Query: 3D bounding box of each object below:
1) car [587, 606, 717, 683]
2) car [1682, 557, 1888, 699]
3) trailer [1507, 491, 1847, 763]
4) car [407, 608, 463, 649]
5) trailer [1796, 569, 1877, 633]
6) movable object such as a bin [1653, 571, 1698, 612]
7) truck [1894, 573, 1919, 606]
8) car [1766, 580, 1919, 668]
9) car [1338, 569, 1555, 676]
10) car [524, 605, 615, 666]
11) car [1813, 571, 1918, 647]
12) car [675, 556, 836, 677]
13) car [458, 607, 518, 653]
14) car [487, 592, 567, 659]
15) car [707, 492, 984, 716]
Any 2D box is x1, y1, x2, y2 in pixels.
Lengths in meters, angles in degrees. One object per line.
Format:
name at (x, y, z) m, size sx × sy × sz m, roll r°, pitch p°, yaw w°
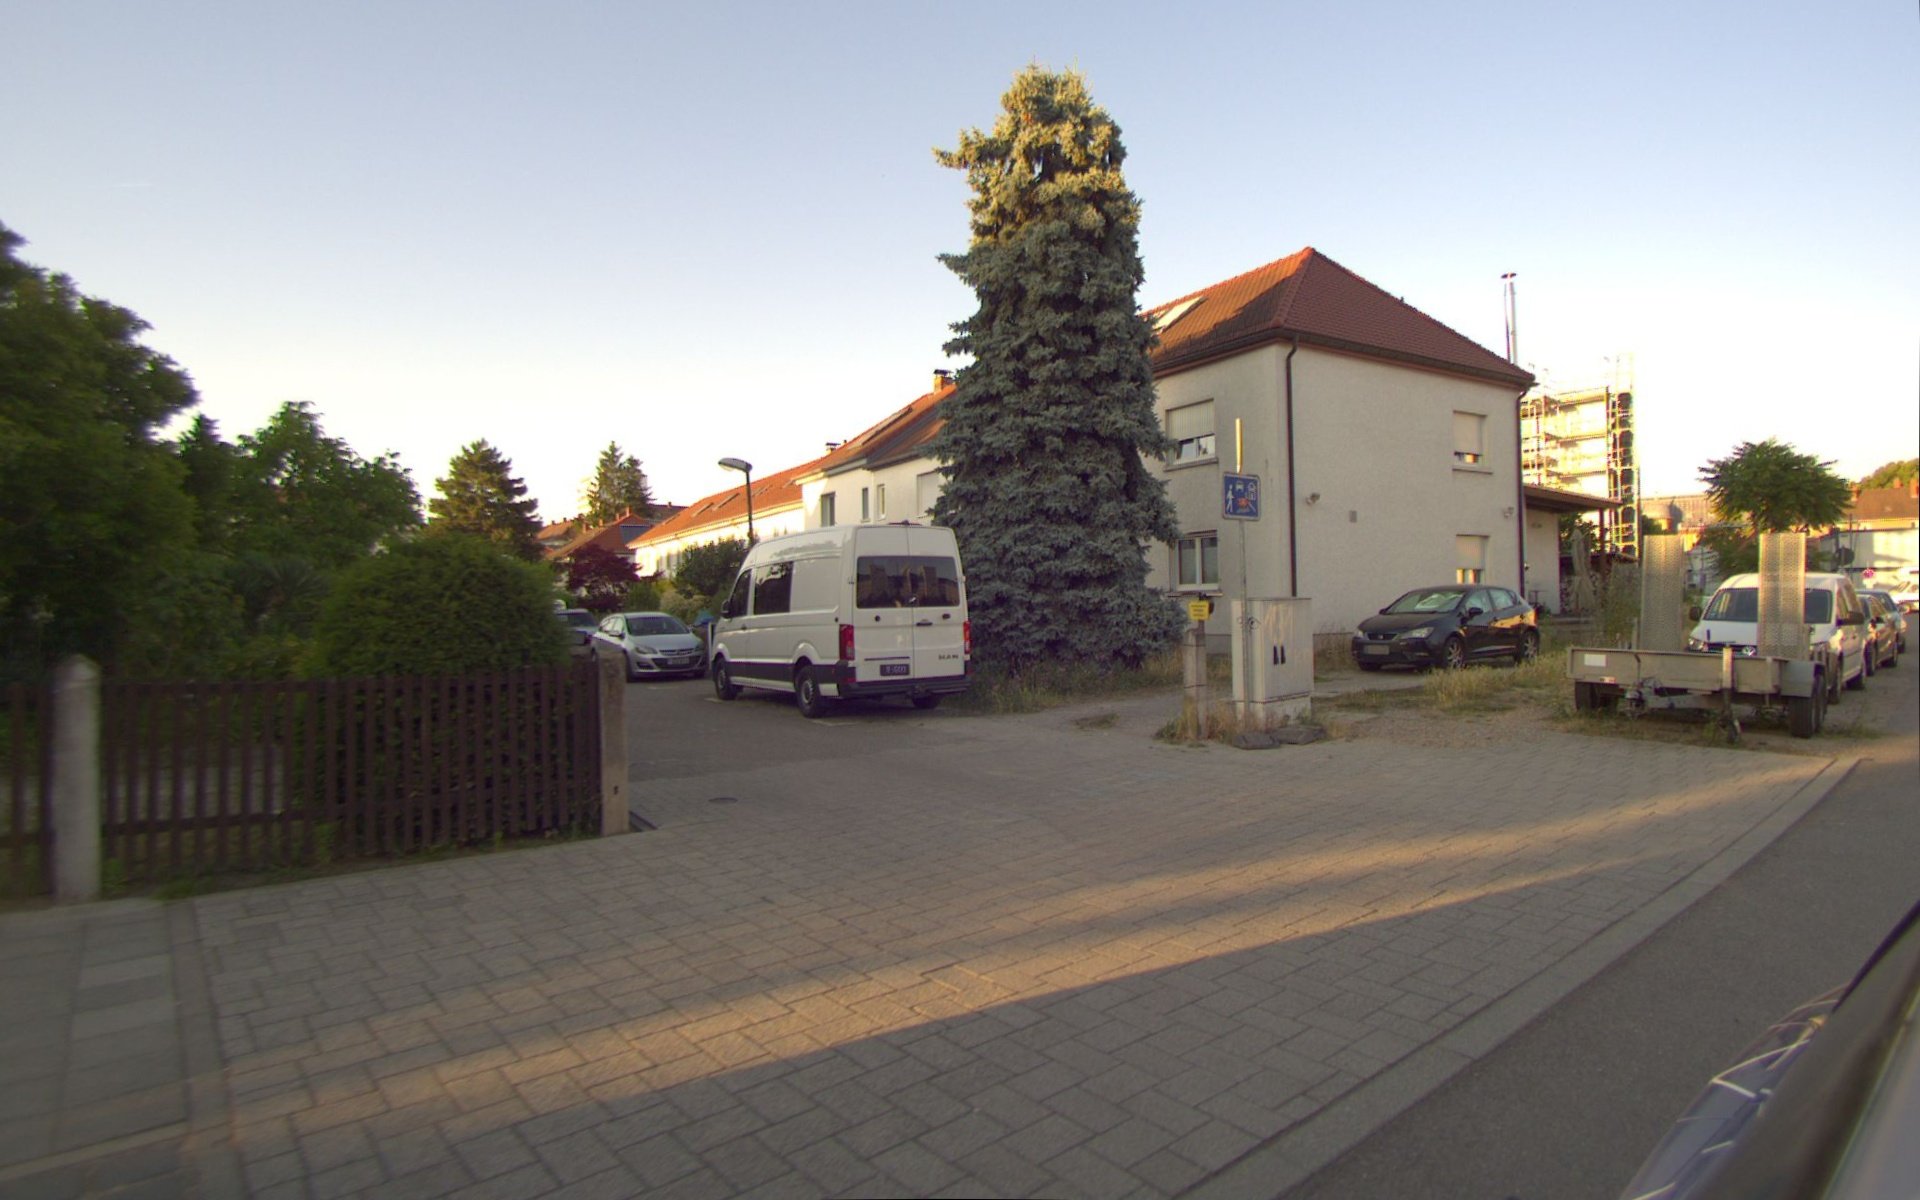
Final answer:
car at (-7.052, 0.933, 22.893) m, size 1.709 × 1.496 × 4.137 m, roll -3°, pitch 1°, yaw -33°
car at (12.570, 0.335, 15.319) m, size 4.333 × 1.854 × 1.773 m, roll -1°, pitch 1°, yaw -42°
trailer at (7.871, 0.204, 10.862) m, size 5.136 × 2.239 × 2.065 m, roll 0°, pitch 0°, yaw -44°
car at (-22.892, 1.203, 44.063) m, size 1.649 × 1.616 × 3.770 m, roll -3°, pitch 1°, yaw -34°
trailer at (26.792, -0.012, 30.923) m, size 1.730 × 1.800 × 4.863 m, roll 1°, pitch 1°, yaw 42°
movable object such as a bin at (43.320, -0.501, 61.226) m, size 2.059 × 2.302 × 8.259 m, roll 0°, pitch 0°, yaw 36°
truck at (61.924, -0.713, 62.463) m, size 5.999 × 2.069 × 2.323 m, roll -2°, pitch -1°, yaw 39°
car at (17.208, 0.404, 19.661) m, size 4.017 × 1.538 × 1.707 m, roll -1°, pitch 0°, yaw -41°
car at (8.373, 0.320, 17.331) m, size 3.830 × 1.538 × 1.641 m, roll -3°, pitch 2°, yaw -35°
car at (-12.062, 1.041, 31.115) m, size 1.649 × 1.674 × 4.099 m, roll -3°, pitch 1°, yaw -34°
car at (22.857, 0.167, 25.587) m, size 1.805 × 1.746 × 4.853 m, roll 1°, pitch 1°, yaw 42°
car at (-5.025, 0.403, 24.144) m, size 2.012 × 2.547 × 5.585 m, roll 1°, pitch -2°, yaw -31°
car at (-20.610, 1.289, 44.124) m, size 1.649 × 1.811 × 4.099 m, roll -3°, pitch 1°, yaw -34°
car at (-15.837, 0.909, 36.892) m, size 1.809 × 2.202 × 4.468 m, roll -3°, pitch 1°, yaw -34°
car at (-1.965, 0.107, 15.200) m, size 2.012 × 2.727 × 5.585 m, roll 1°, pitch -2°, yaw -31°
